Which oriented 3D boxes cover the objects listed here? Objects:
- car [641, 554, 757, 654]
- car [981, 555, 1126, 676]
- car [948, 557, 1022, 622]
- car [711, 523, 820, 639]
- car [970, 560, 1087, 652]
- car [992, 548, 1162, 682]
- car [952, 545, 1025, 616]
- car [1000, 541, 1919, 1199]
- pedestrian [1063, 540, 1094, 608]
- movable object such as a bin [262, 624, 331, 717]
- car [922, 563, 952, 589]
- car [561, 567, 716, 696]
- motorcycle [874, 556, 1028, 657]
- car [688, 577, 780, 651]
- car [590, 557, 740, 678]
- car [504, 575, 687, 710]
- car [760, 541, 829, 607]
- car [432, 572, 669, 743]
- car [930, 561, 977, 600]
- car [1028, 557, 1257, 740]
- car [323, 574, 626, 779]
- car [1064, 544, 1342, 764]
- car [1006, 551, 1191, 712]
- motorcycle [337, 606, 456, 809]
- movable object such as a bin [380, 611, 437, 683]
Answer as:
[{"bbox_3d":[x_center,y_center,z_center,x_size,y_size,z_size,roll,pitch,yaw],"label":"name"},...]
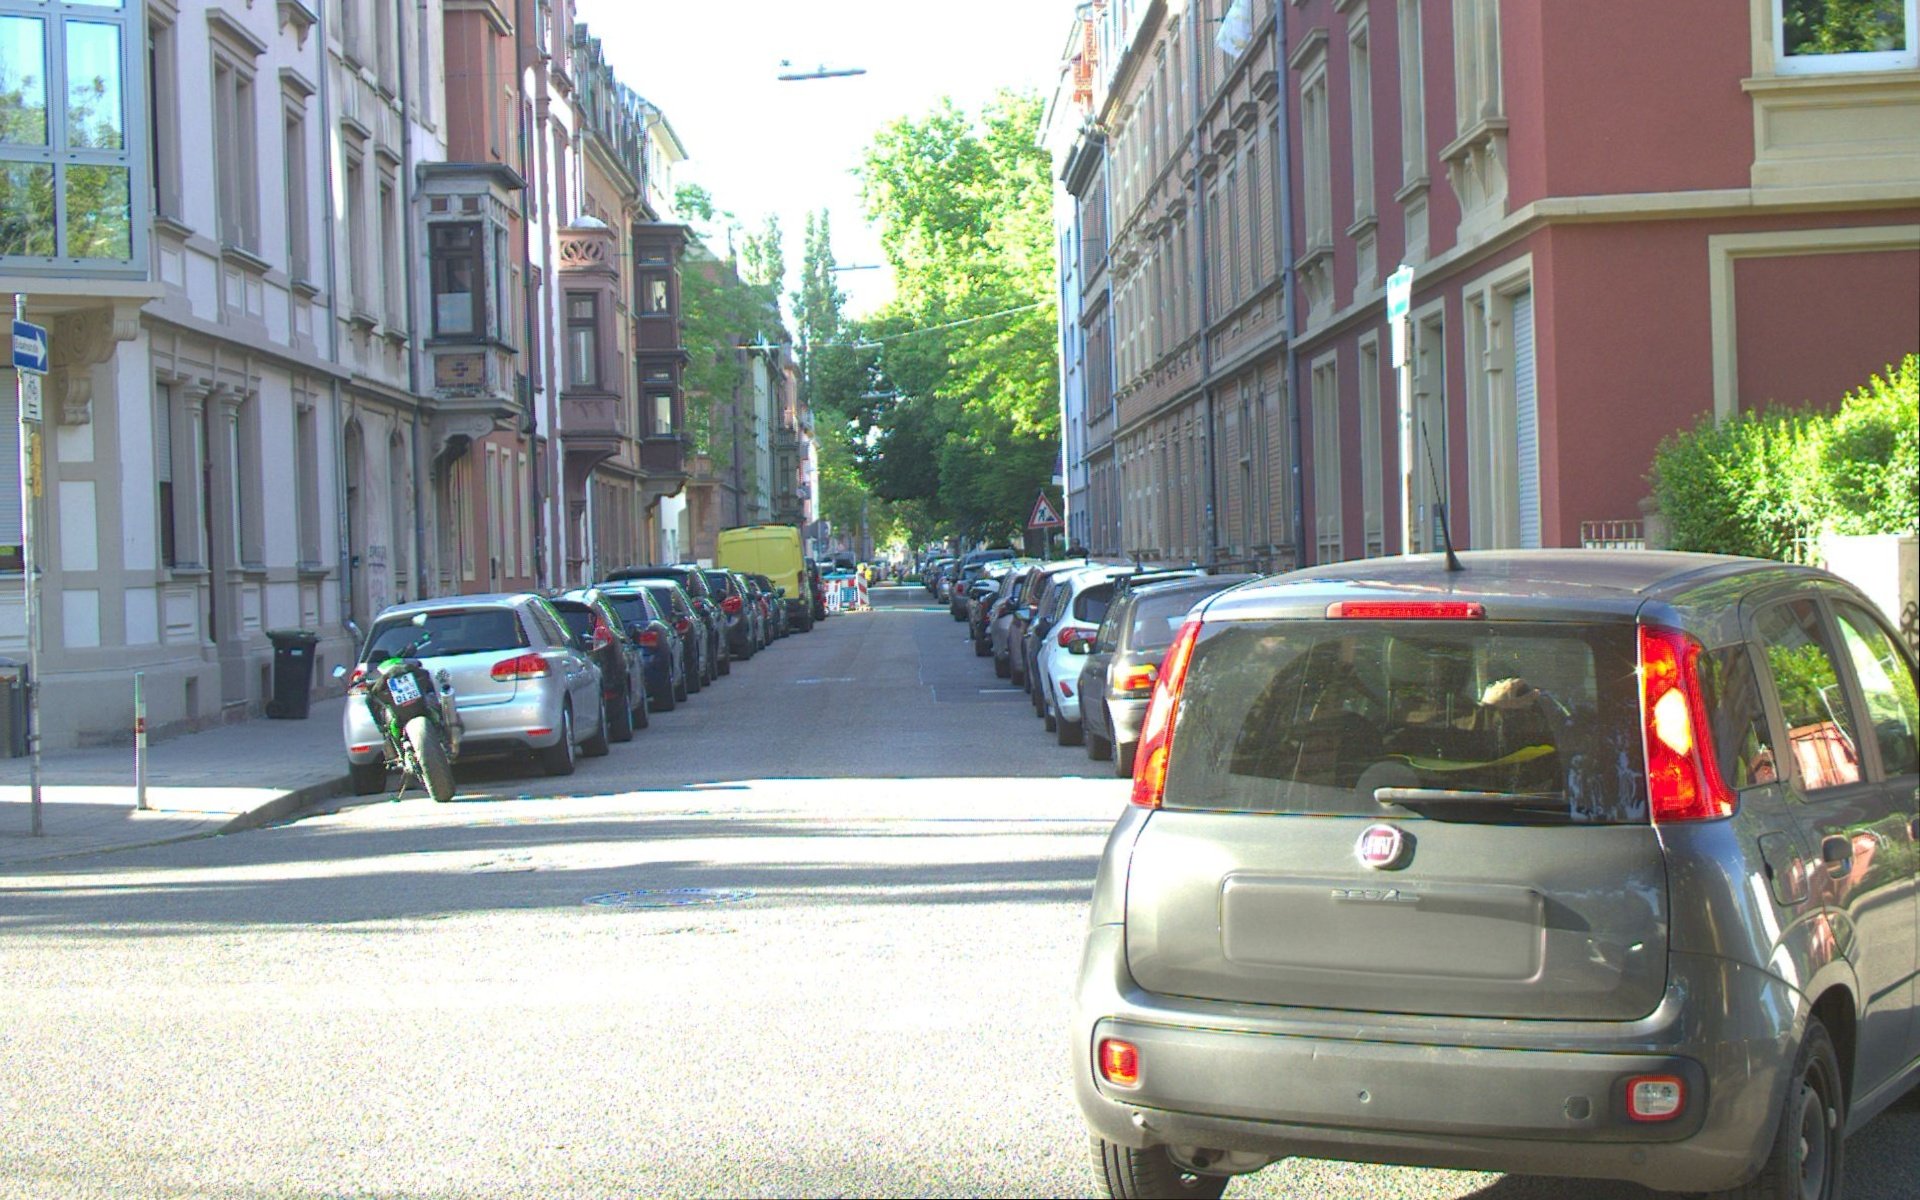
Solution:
[{"bbox_3d":[-4.454,0.039,59.147,1.781,1.600,4.070,-2,1,-2],"label":"car"},{"bbox_3d":[1.215,0.169,46.198,1.762,1.479,4.401,-2,1,0],"label":"car"},{"bbox_3d":[0.658,-0.292,89.314,1.754,1.448,4.288,-6,1,1],"label":"car"},{"bbox_3d":[-4.550,-0.462,81.185,2.175,2.499,5.878,-4,1,-1],"label":"car"},{"bbox_3d":[1.094,0.072,56.792,1.777,1.392,4.317,-2,1,0],"label":"car"},{"bbox_3d":[1.361,0.142,41.355,1.658,1.474,4.025,-2,1,-3],"label":"car"},{"bbox_3d":[0.766,-0.567,94.750,1.754,1.780,4.724,-5,1,-1],"label":"car"},{"bbox_3d":[1.619,0.625,8.416,1.636,1.478,3.528,-1,1,26],"label":"car"},{"bbox_3d":[2.923,-0.641,84.772,0.653,1.625,0.880,-4,0,3],"label":"pedestrian"},{"bbox_3d":[-6.923,0.735,35.901,0.621,0.952,0.511,0,0,-1],"label":"movable object such as a bin"},{"bbox_3d":[-1.593,-1.657,238.256,1.993,1.722,4.000,-2,1,-1],"label":"car"},{"bbox_3d":[-4.097,0.368,44.270,1.643,1.450,3.839,-4,1,-2],"label":"car"},{"bbox_3d":[-0.132,0.097,53.363,2.219,1.531,0.890,0,1,-26],"label":"motorcycle"},{"bbox_3d":[-4.568,0.269,69.885,1.618,1.322,3.613,-5,1,-2],"label":"car"},{"bbox_3d":[-4.197,0.212,49.454,1.761,1.612,4.189,-2,1,0],"label":"car"},{"bbox_3d":[-4.119,0.451,39.326,1.781,1.398,3.743,-2,1,-2],"label":"car"},{"bbox_3d":[-4.654,-0.725,96.082,1.818,1.760,4.336,-2,1,-4],"label":"car"},{"bbox_3d":[-3.853,0.503,32.869,1.781,1.478,3.743,-2,1,0],"label":"car"},{"bbox_3d":[-0.303,-0.859,150.134,1.894,1.620,4.000,-2,0,-2],"label":"car"},{"bbox_3d":[1.543,0.377,30.314,1.705,1.457,3.970,-2,1,-1],"label":"car"},{"bbox_3d":[-3.875,0.568,28.077,1.781,1.478,3.932,-2,1,2],"label":"car"},{"bbox_3d":[1.752,0.352,25.795,1.668,1.478,3.706,-2,1,-2],"label":"car"},{"bbox_3d":[1.372,0.273,35.386,1.676,1.498,4.069,-2,1,0],"label":"car"},{"bbox_3d":[-4.032,0.740,24.703,0.676,1.329,2.001,-5,1,-7],"label":"motorcycle"},{"bbox_3d":[-7.296,0.613,45.488,0.612,0.917,0.734,-2,0,-1],"label":"movable object such as a bin"}]
